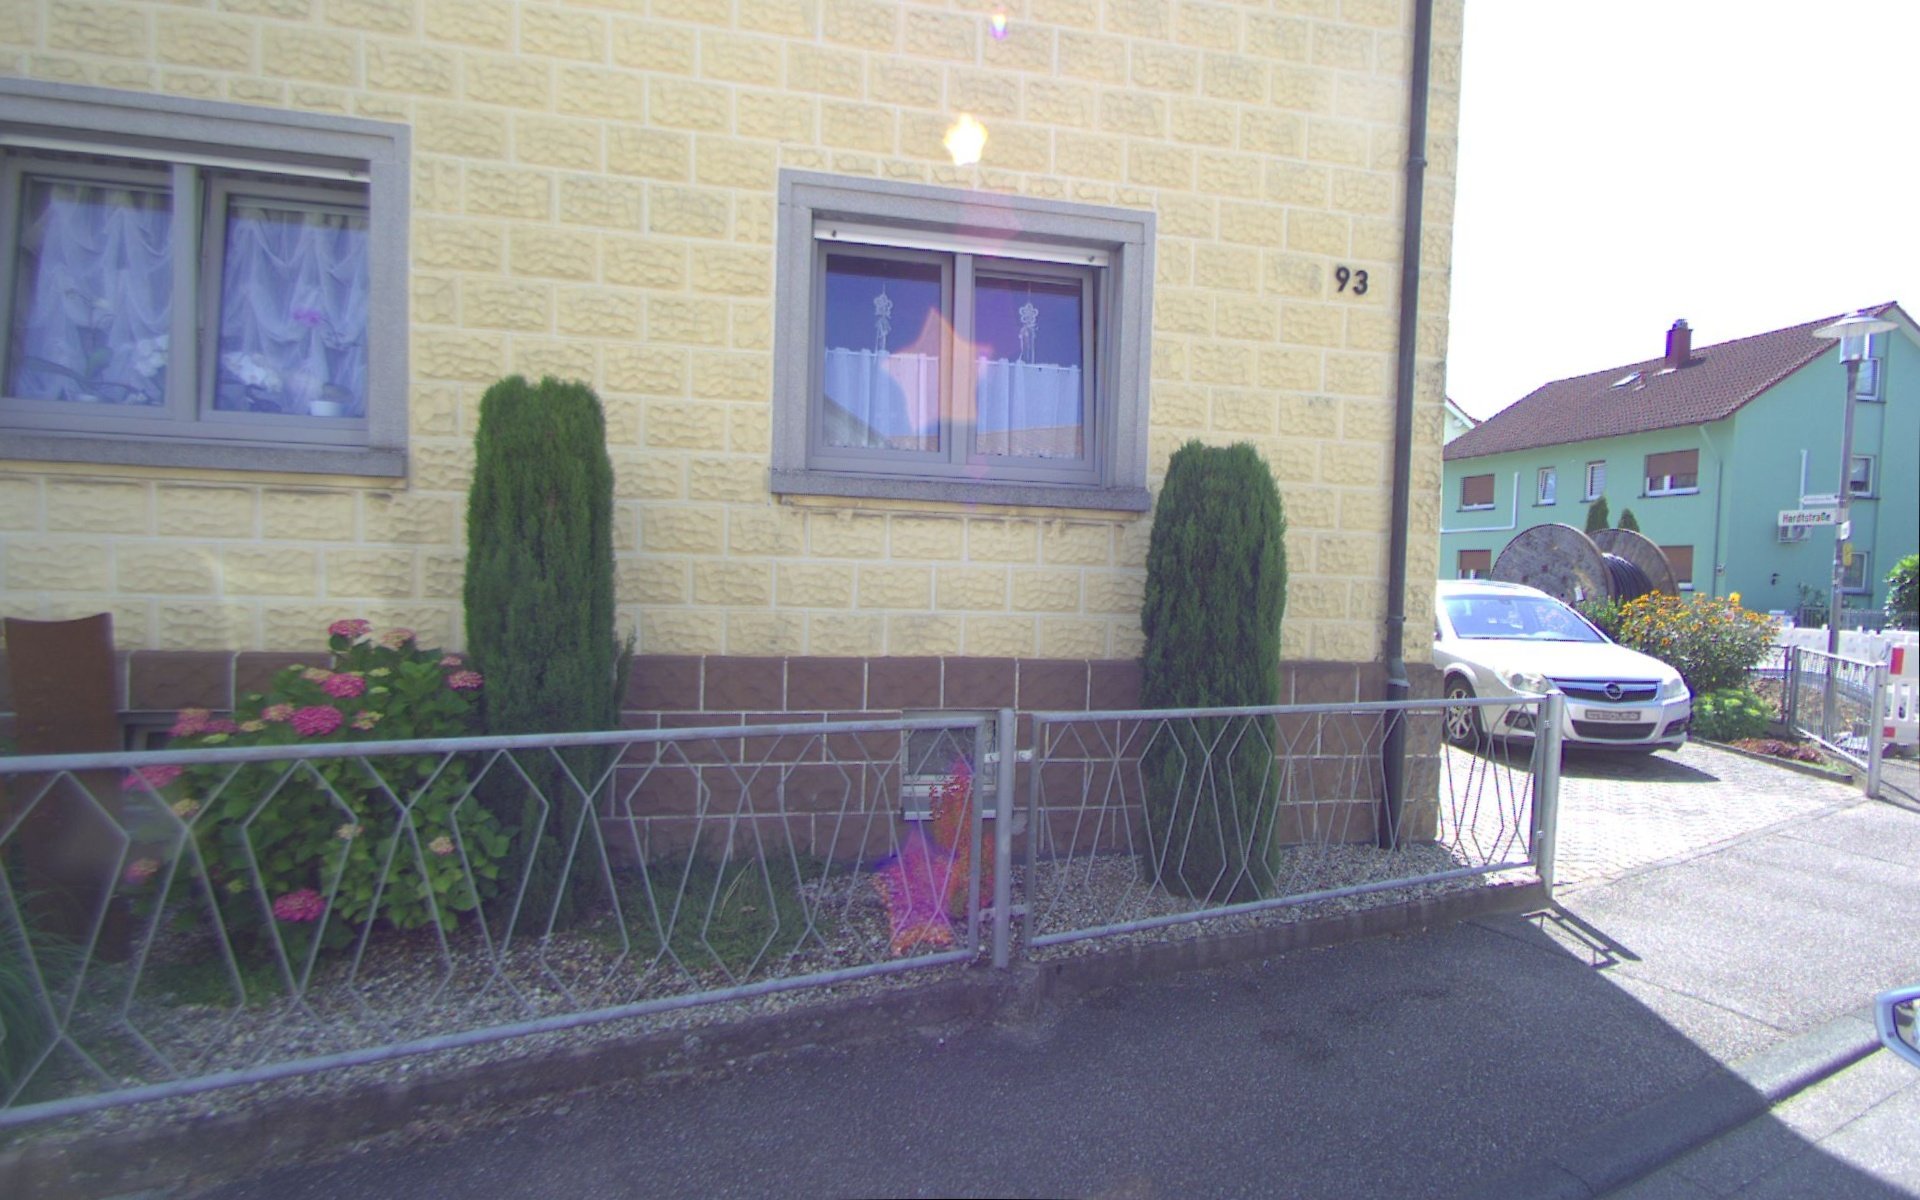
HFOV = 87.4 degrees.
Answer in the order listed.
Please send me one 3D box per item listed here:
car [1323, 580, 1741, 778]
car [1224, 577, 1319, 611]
[{"bbox_3d":[5.324,0.581,10.182,1.756,1.505,4.473,2,1,2],"label":"car"},{"bbox_3d":[14.551,-0.283,46.946,3.858,1.530,1.769,0,2,-12],"label":"car"}]
